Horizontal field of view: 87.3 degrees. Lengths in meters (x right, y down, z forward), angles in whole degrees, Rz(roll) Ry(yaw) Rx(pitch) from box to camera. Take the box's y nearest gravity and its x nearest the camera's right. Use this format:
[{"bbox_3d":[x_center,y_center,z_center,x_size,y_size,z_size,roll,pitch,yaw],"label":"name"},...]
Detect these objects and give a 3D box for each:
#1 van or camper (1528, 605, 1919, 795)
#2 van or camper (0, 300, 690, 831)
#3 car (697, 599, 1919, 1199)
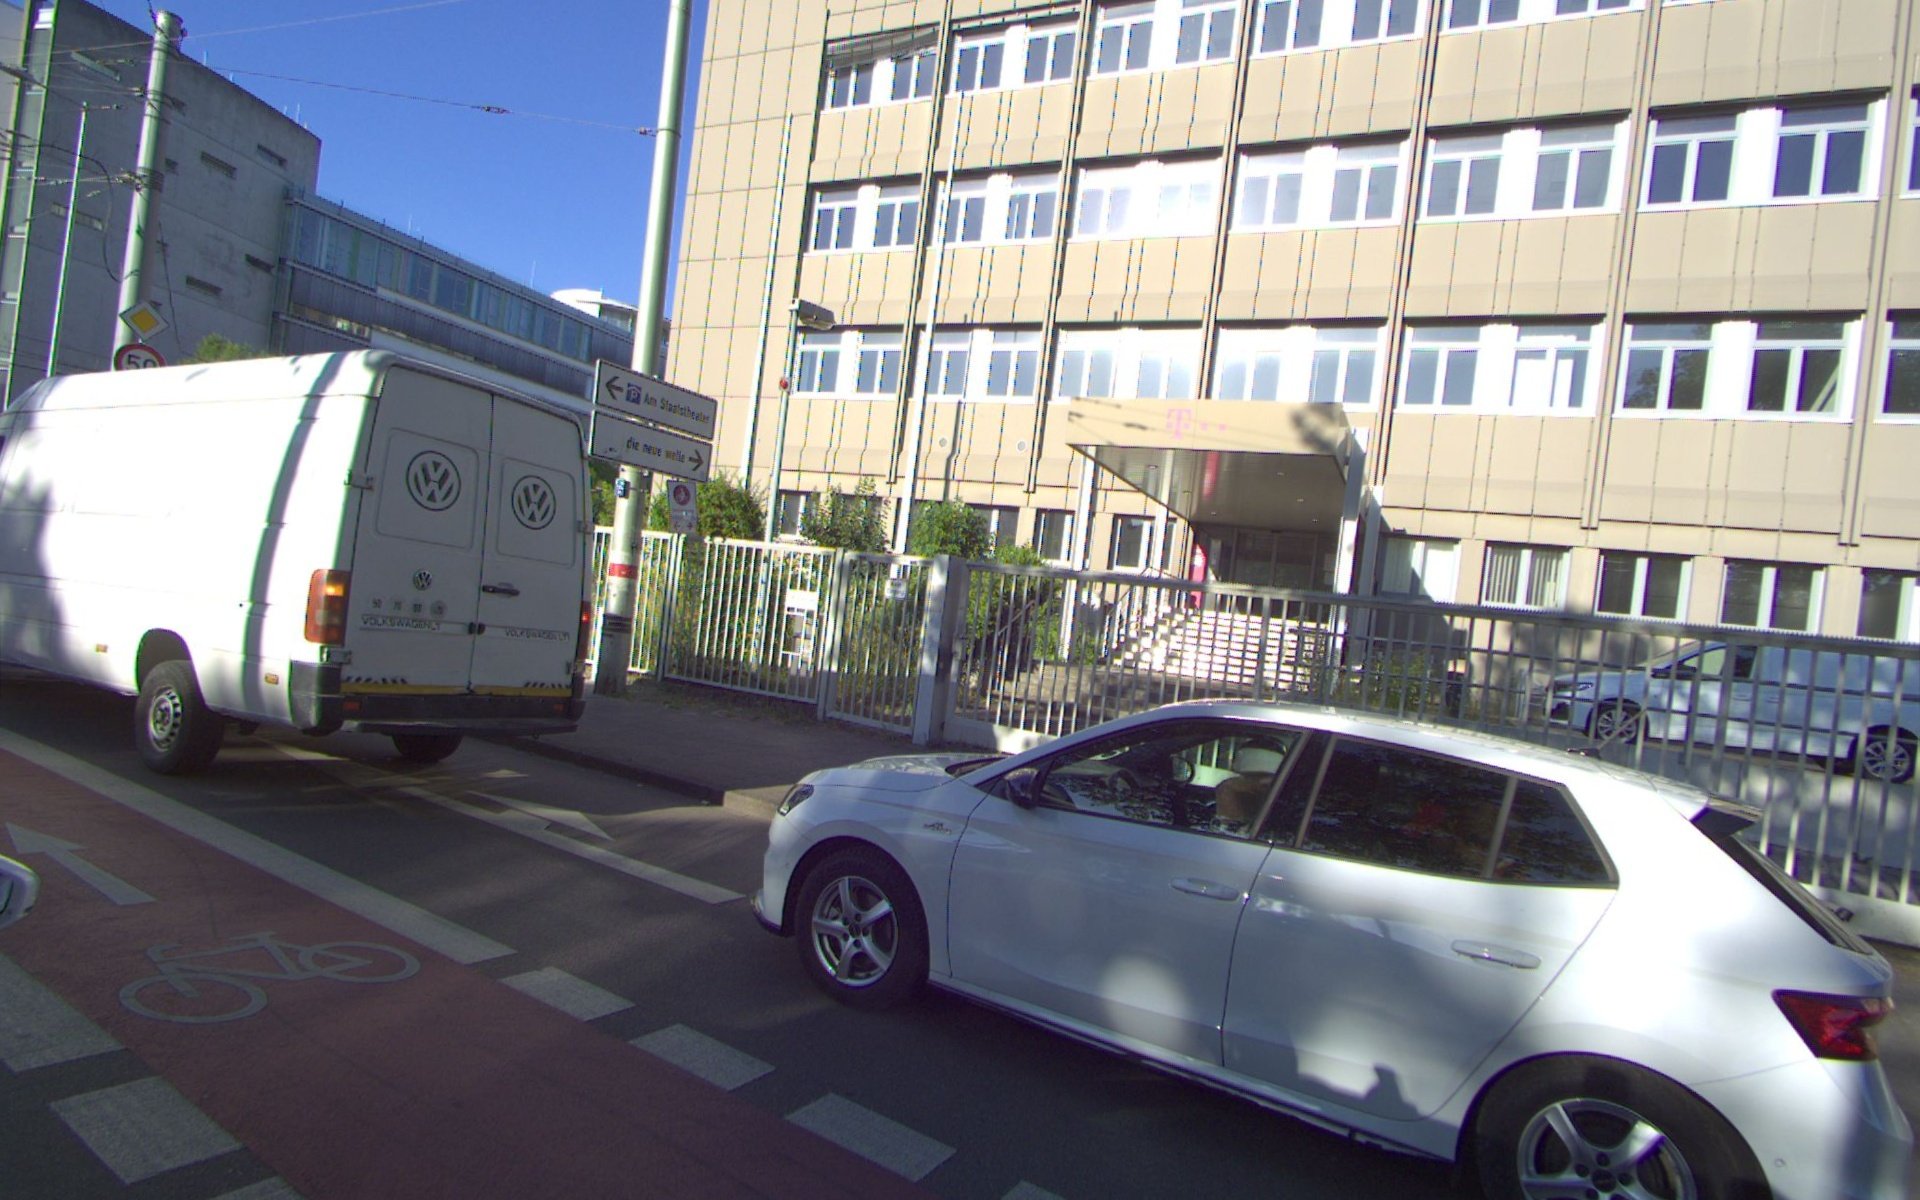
[{"bbox_3d":[11.102,1.365,14.318,4.910,1.932,1.985,7,0,26],"label":"van or camper"},{"bbox_3d":[-5.384,-0.393,7.637,6.235,2.764,2.277,7,-2,27],"label":"van or camper"},{"bbox_3d":[1.101,1.030,4.077,3.913,1.518,1.806,7,-1,30],"label":"car"}]
